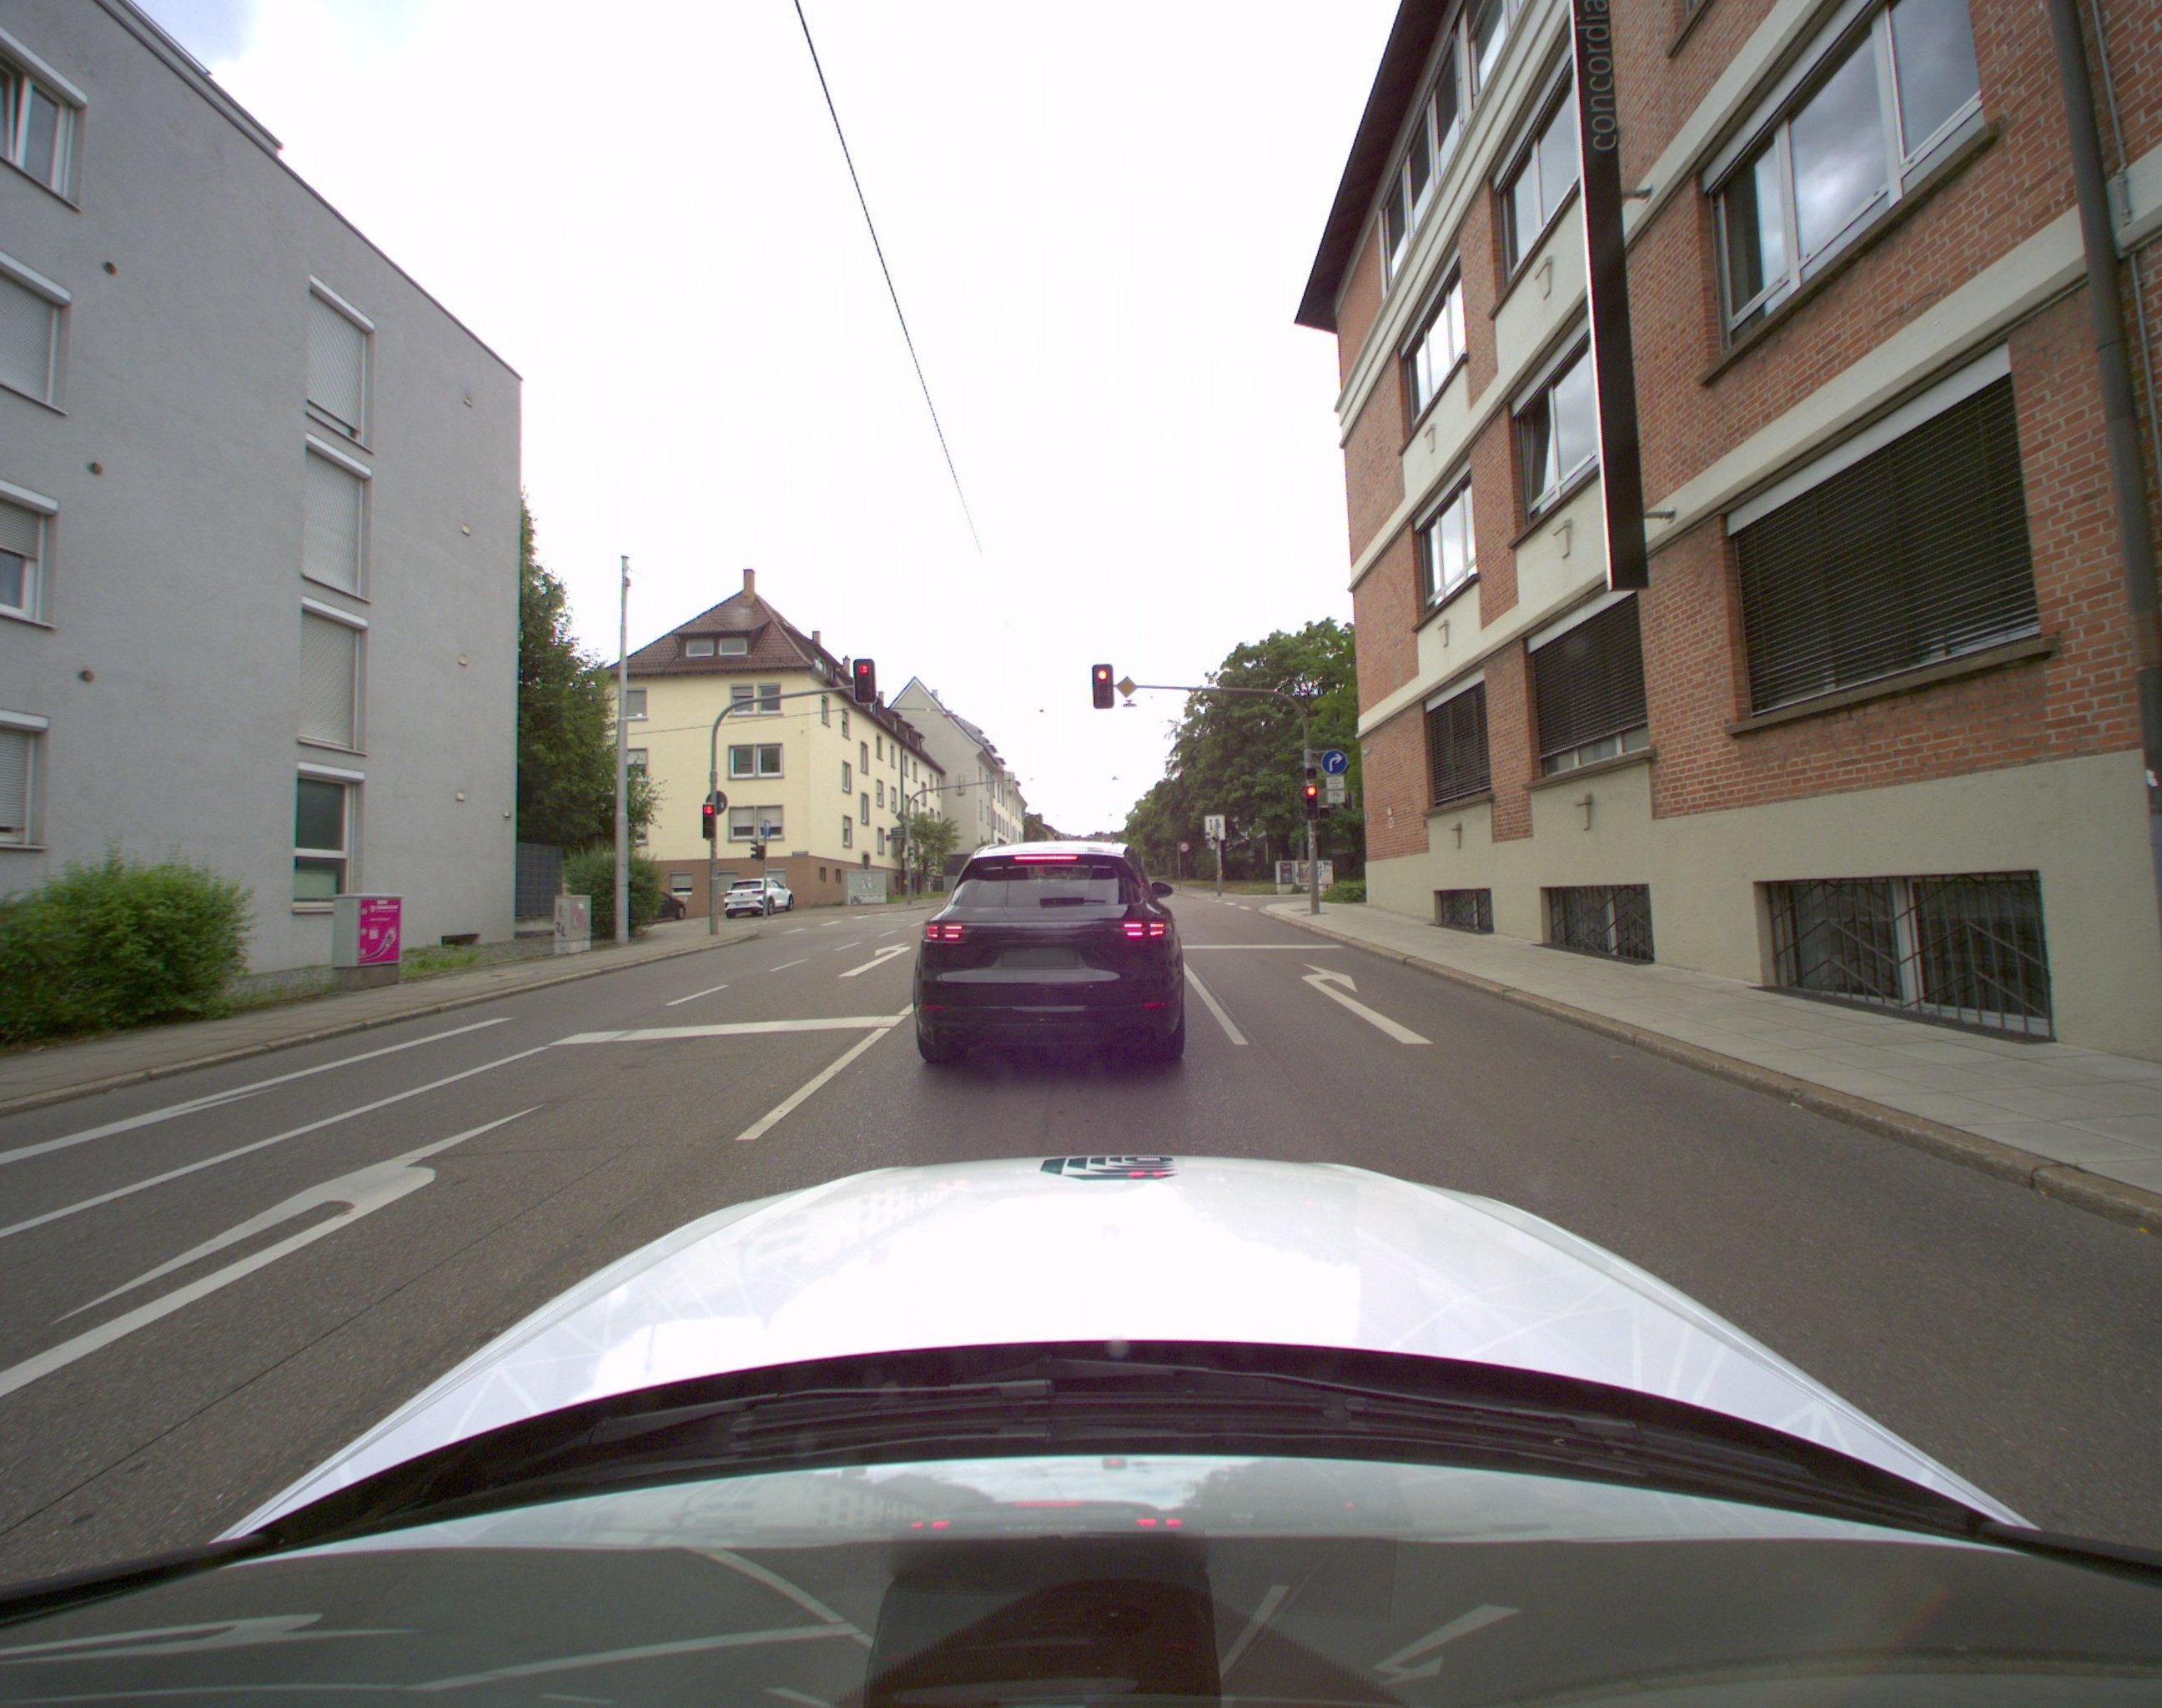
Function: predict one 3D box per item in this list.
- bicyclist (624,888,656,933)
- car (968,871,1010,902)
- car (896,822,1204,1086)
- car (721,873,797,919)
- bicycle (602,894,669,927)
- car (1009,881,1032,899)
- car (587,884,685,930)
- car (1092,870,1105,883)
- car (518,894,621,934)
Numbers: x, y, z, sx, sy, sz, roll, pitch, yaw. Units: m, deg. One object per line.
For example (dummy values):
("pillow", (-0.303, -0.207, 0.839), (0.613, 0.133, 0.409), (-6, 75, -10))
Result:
("bicyclist", (-15.482, 1.980, 28.590), (0.809, 1.519, 0.704), (0, -1, -9))
("car", (-5.148, 1.780, 45.826), (1.657, 1.519, 3.742), (-5, -1, 2))
("car", (-0.142, 0.665, 7.284), (1.986, 1.697, 4.001), (0, -1, 2))
("car", (-13.562, 1.731, 34.507), (1.666, 1.662, 3.996), (-4, 0, -3))
("bicycle", (-15.602, 1.968, 28.567), (1.905, 1.081, 0.701), (0, -1, -10))
("car", (-5.168, 3.062, 69.921), (1.665, 1.362, 3.998), (-1, -1, -1))
("car", (-18.584, 2.166, 34.253), (1.664, 1.546, 4.103), (-5, -1, 2))
("car", (2.321, 3.030, 109.808), (1.683, 1.552, 3.888), (0, -1, 0))
("car", (-21.315, 2.456, 34.121), (1.663, 1.362, 4.001), (-1, -1, 2))
